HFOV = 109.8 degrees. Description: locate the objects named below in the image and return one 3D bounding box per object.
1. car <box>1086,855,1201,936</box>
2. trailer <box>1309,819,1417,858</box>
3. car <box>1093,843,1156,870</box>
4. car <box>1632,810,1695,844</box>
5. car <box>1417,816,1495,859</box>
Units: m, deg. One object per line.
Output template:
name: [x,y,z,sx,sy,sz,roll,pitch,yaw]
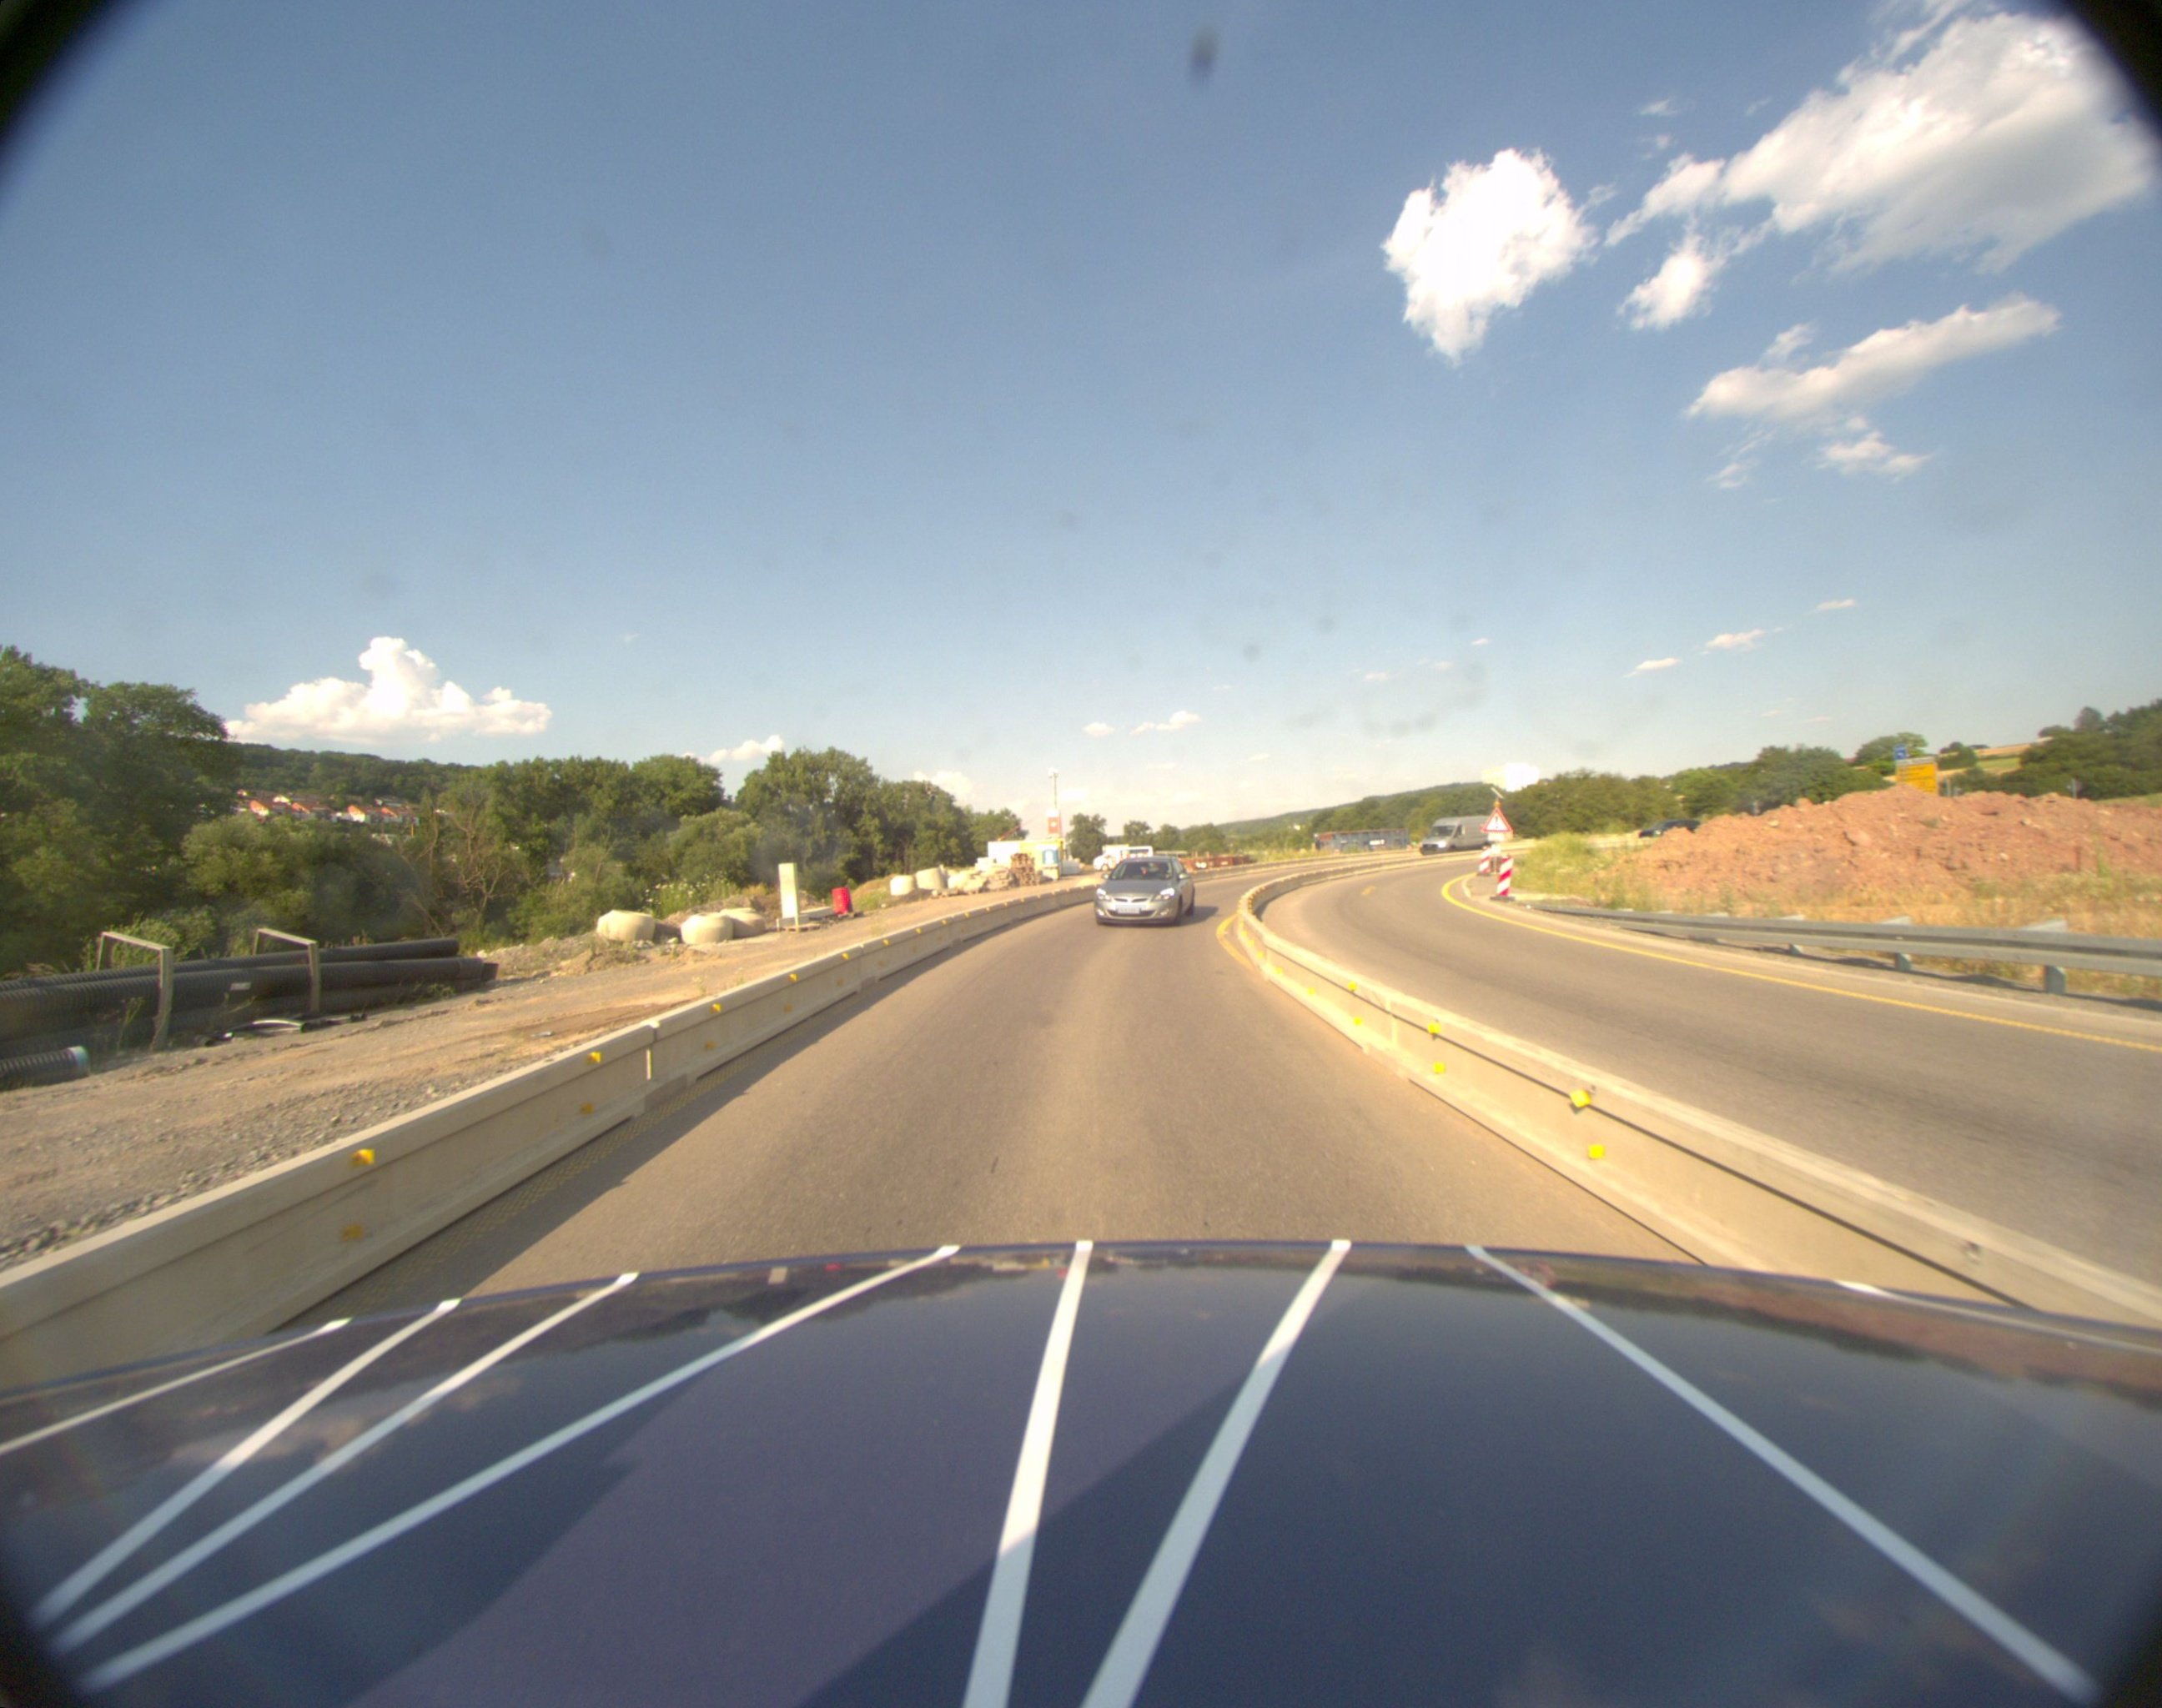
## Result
car: [1.533,0.819,16.973,1.745,1.476,4.256,-1,1,16]
trailer: [20.986,-1.183,56.621,7.234,2.400,3.009,-4,0,-20]
car: [3.795,0.197,66.763,5.315,2.067,2.487,-3,1,1]
car: [44.831,-2.079,58.486,4.003,2.389,1.874,-4,1,-19]
car: [24.376,-1.097,49.345,5.807,2.487,1.913,-4,1,-35]
